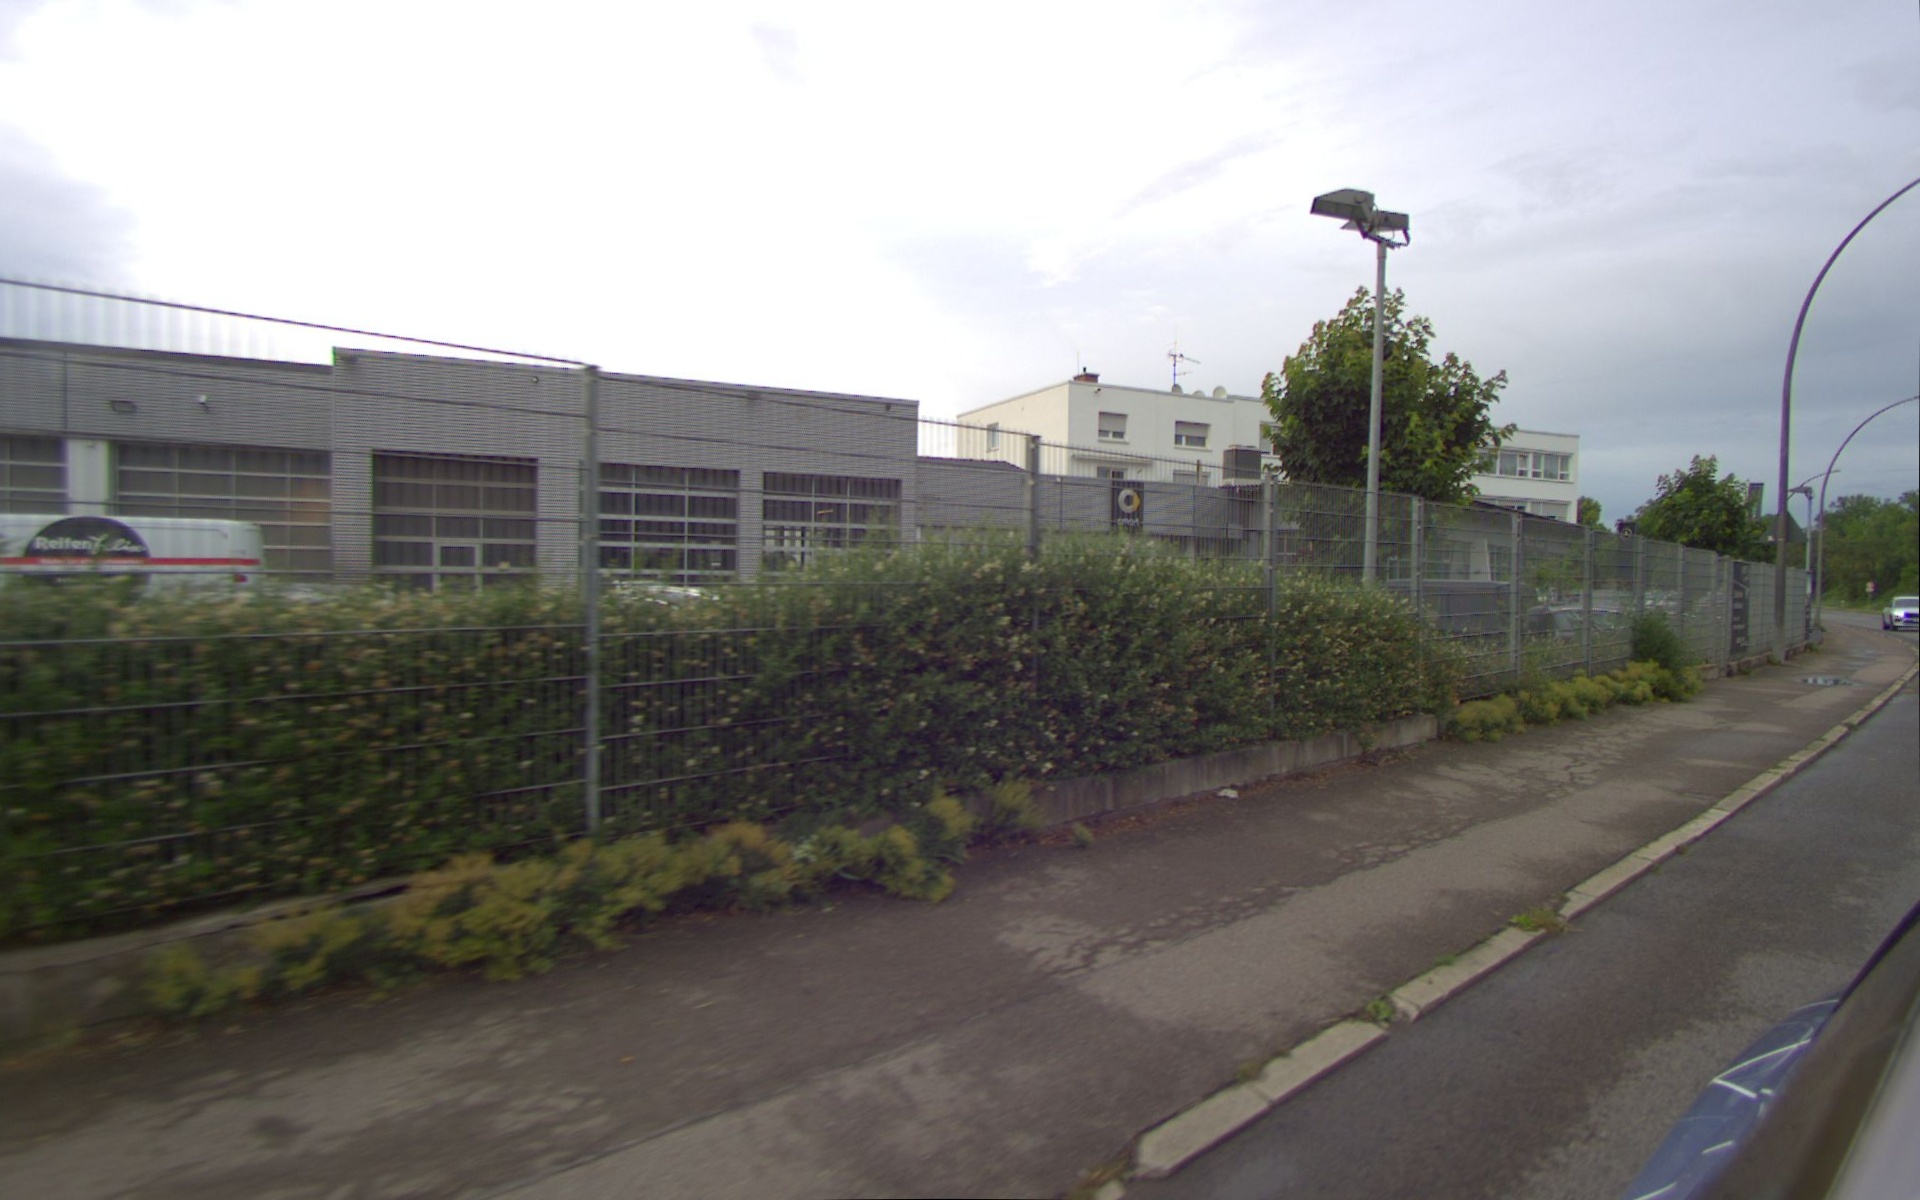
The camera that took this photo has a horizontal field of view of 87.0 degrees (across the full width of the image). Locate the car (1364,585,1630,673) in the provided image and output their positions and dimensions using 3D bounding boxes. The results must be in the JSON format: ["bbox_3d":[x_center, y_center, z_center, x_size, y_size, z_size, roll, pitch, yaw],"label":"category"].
[{"bbox_3d":[9.904,0.518,18.929,1.757,1.421,3.996,-2,0,-38],"label":"car"}]

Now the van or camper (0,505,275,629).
[{"bbox_3d":[-15.086,-0.531,17.290,5.319,1.963,2.003,-1,0,-25],"label":"van or camper"}]

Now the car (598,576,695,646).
[{"bbox_3d":[-7.473,0.251,23.879,1.685,1.418,4.658,-2,0,-23],"label":"car"}]

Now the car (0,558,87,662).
[{"bbox_3d":[-15.269,0.226,14.133,4.379,1.438,1.897,-3,0,-32],"label":"car"}]
